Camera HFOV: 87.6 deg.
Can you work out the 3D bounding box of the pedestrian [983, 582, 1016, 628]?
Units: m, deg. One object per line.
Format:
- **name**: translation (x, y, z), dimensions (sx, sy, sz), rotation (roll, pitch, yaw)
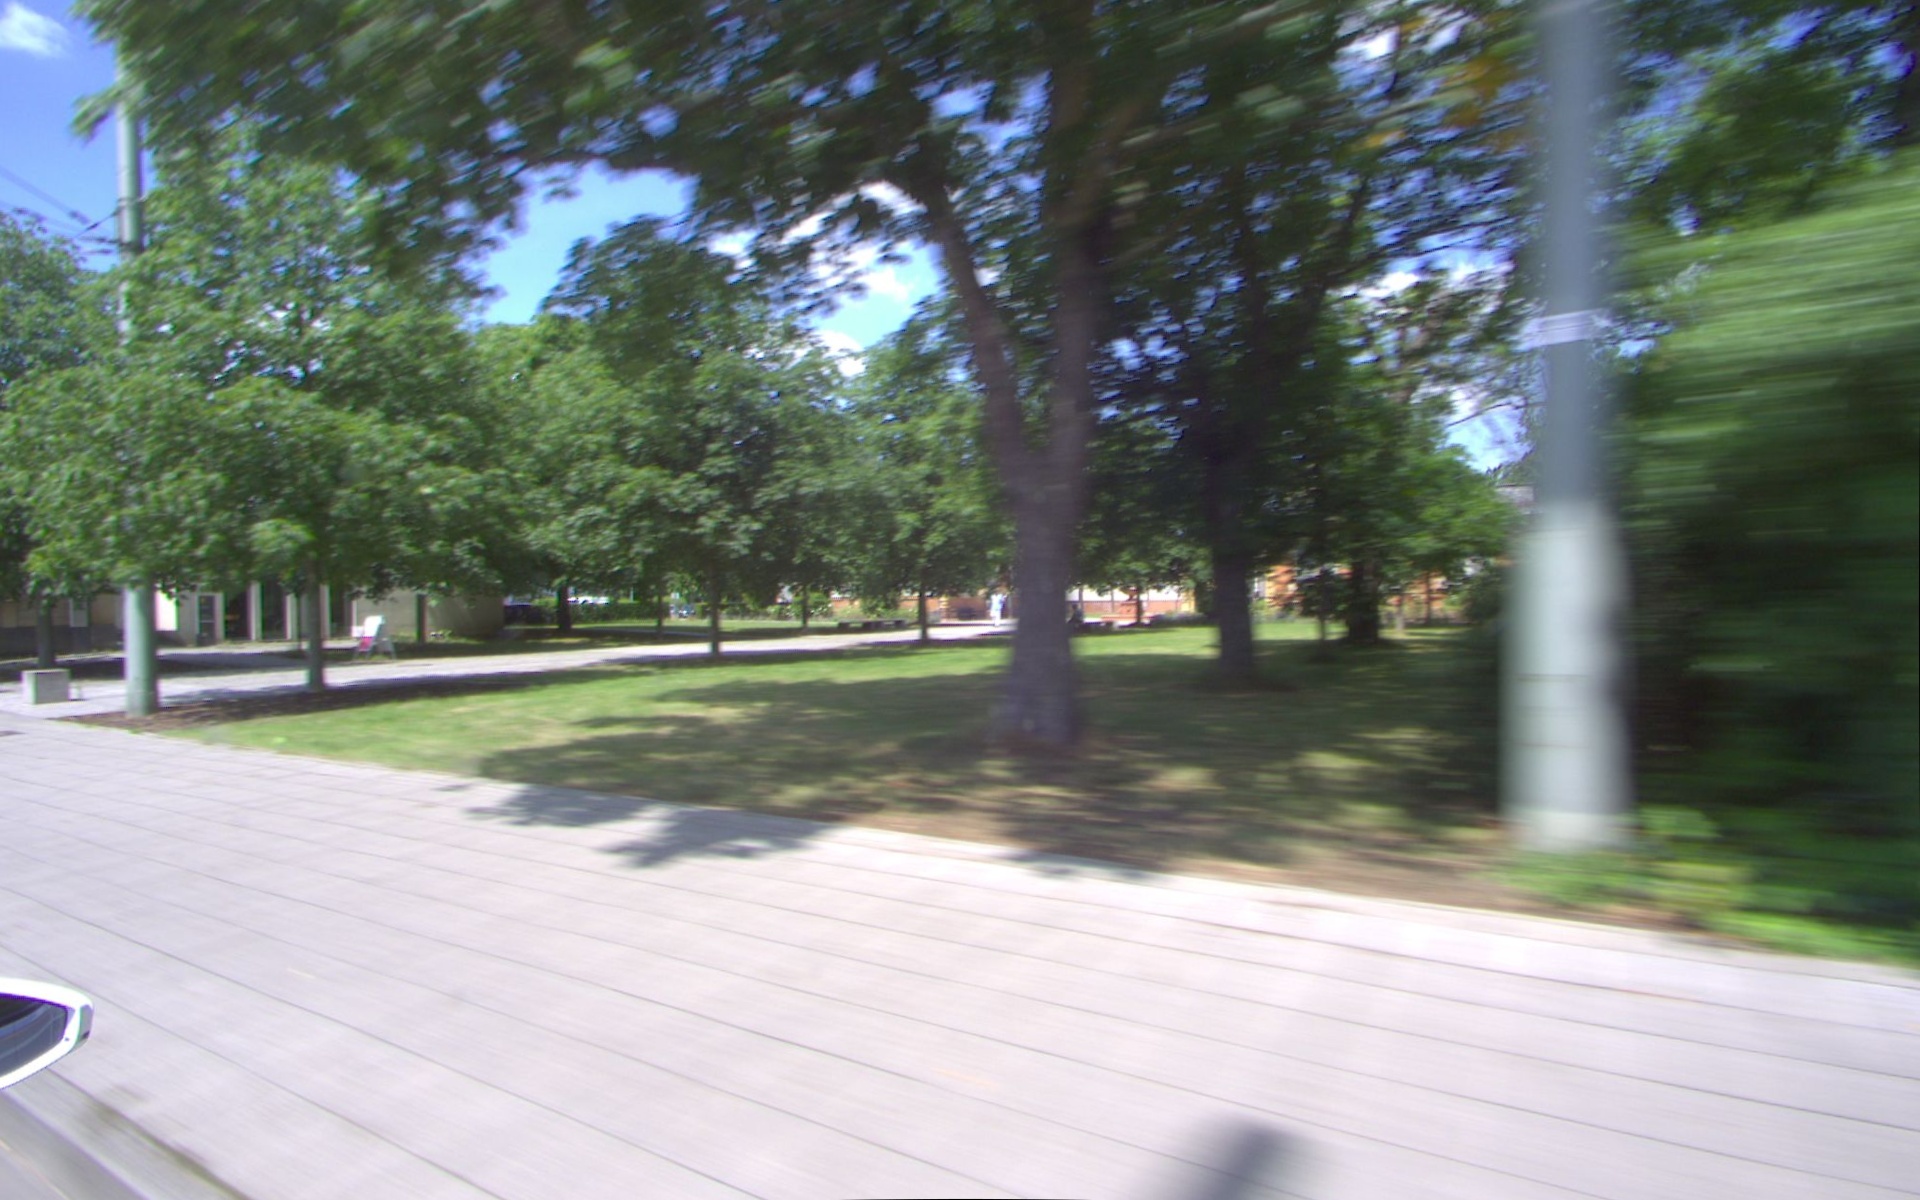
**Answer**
- **pedestrian**: translation (1.794, 0.227, 45.659), dimensions (1.237, 2.041, 0.822), rotation (-1, 2, 21)
